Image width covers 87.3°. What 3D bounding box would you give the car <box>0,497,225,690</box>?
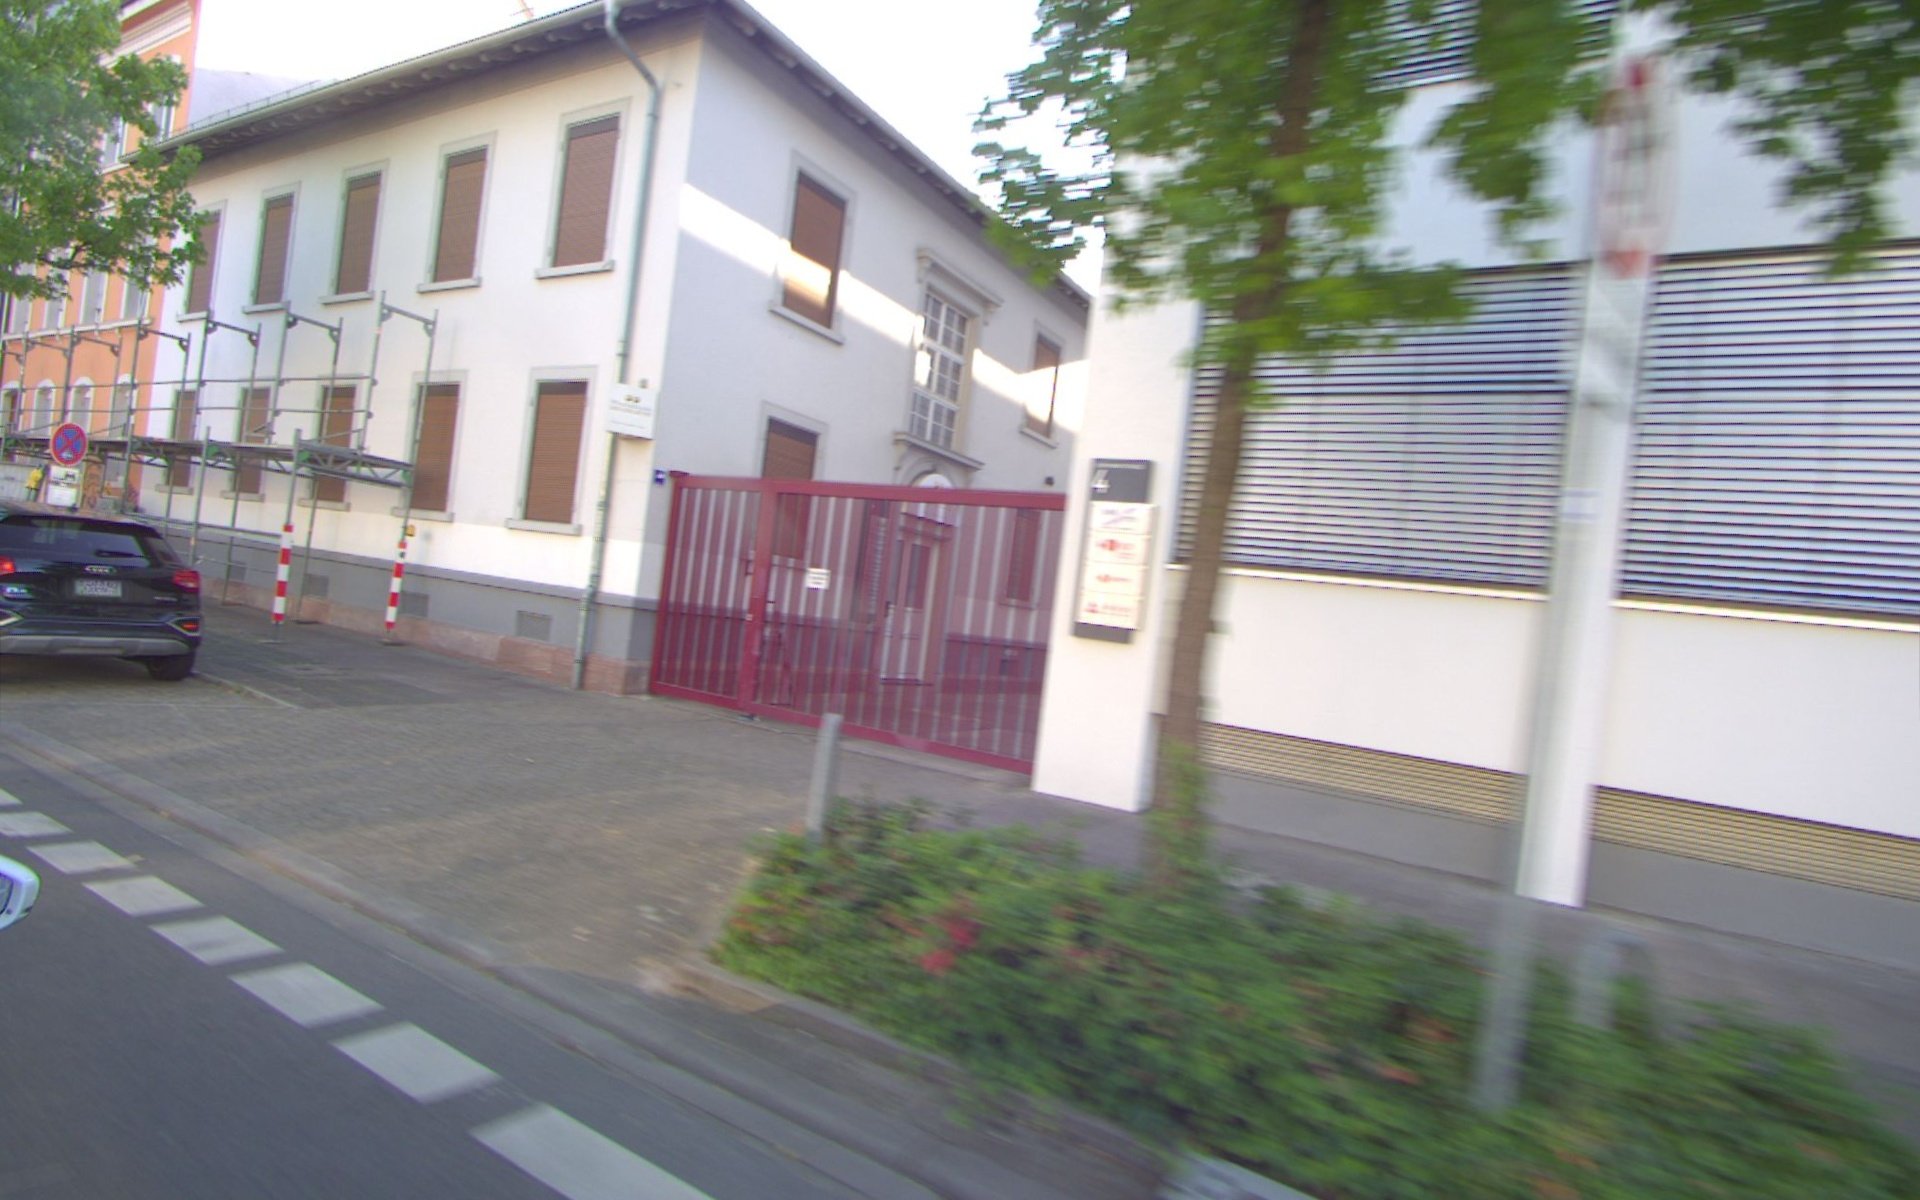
[{"bbox_3d":[-8.912,-0.190,9.569,4.044,1.502,1.764,7,0,34],"label":"car"}]
